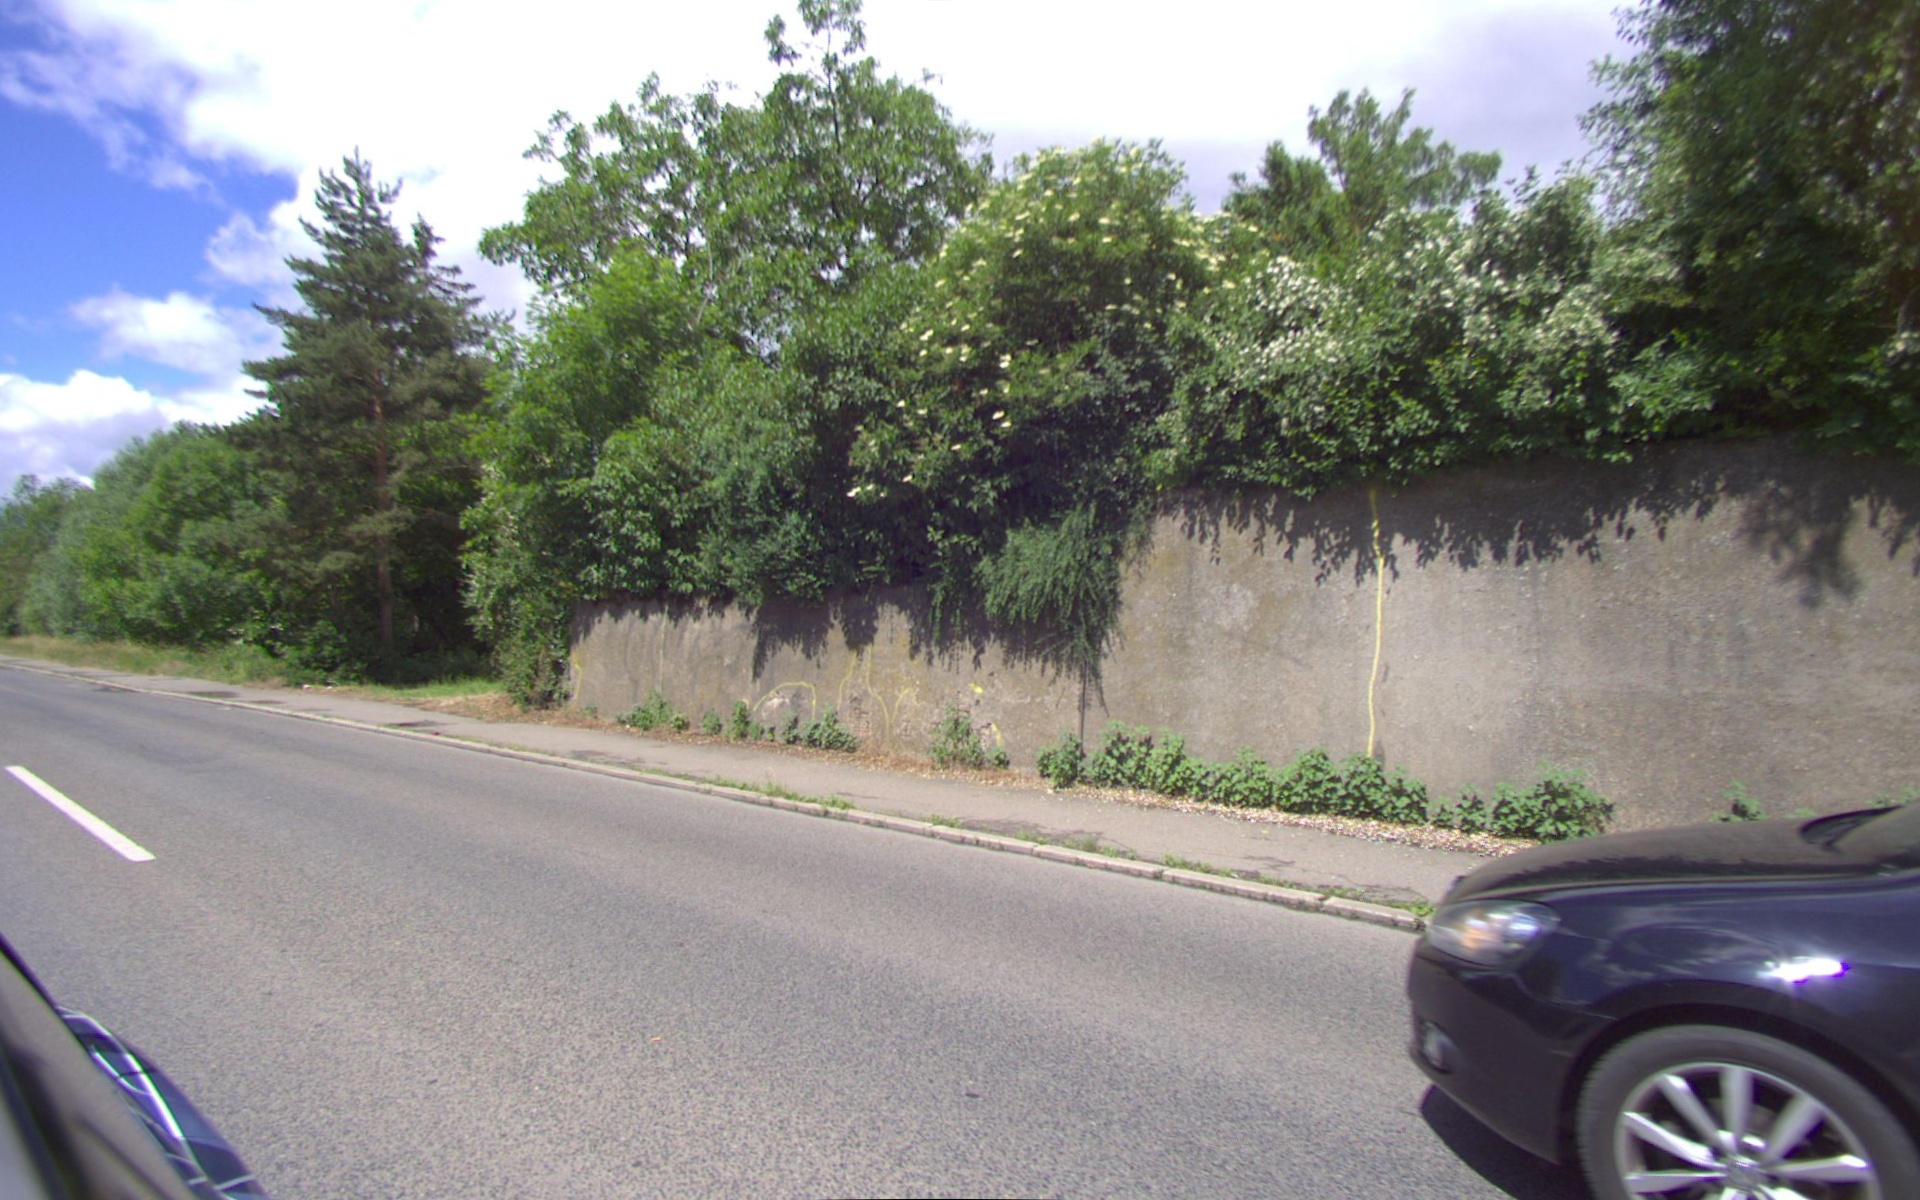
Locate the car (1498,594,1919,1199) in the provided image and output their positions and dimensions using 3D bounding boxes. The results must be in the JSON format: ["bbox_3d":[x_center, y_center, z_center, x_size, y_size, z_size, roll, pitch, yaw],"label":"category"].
[{"bbox_3d":[3.342,0.730,1.734,3.997,1.475,1.733,-2,-3,40],"label":"car"}]
